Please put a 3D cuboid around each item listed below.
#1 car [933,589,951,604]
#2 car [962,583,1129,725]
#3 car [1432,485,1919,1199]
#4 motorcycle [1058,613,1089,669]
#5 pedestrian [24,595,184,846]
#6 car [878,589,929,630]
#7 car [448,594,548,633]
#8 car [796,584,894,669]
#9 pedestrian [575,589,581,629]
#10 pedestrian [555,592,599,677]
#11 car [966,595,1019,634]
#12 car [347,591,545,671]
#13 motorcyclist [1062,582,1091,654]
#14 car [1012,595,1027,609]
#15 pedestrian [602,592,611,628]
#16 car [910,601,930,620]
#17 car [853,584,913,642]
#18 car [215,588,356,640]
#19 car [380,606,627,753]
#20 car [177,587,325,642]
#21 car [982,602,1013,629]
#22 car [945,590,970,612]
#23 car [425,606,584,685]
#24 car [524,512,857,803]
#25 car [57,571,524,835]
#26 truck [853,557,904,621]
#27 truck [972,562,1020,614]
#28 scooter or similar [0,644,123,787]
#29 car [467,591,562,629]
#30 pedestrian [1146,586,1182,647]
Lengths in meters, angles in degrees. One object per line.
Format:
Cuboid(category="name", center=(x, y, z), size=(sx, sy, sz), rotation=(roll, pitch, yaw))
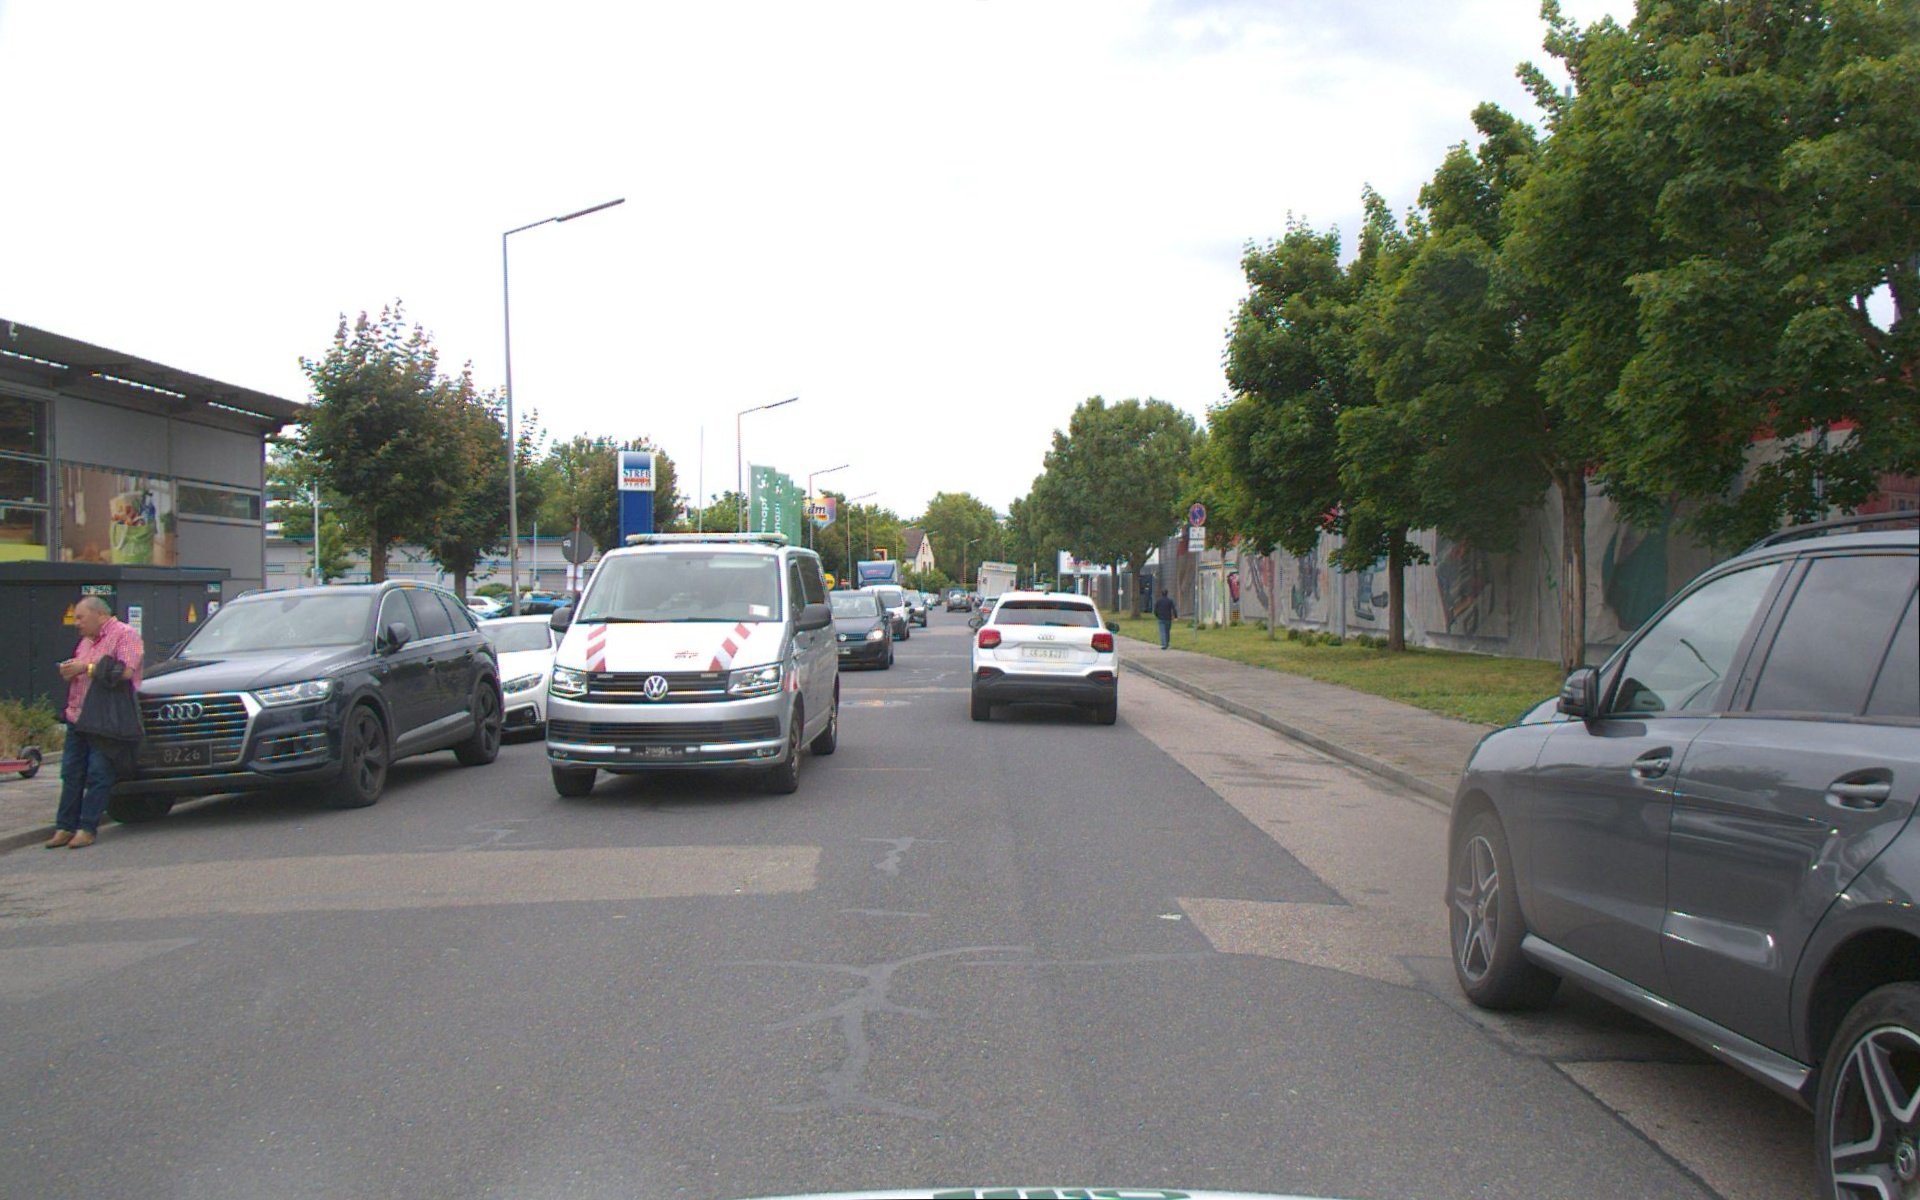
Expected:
Cuboid(category="car", center=(-2.146, -0.367, 194.713), size=(1.740, 1.684, 3.744), rotation=(1, 0, -6))
Cuboid(category="car", center=(0.999, 0.609, 20.968), size=(1.848, 1.558, 4.254), rotation=(2, 0, 1))
Cuboid(category="car", center=(2.943, 0.685, 4.743), size=(1.869, 1.771, 4.480), rotation=(3, 0, 1))
Cuboid(category="motorcycle", center=(2.527, 0.892, 36.968), size=(0.627, 1.199, 2.114), rotation=(0, 0, 2))
Cuboid(category="pedestrian", center=(-5.926, 0.812, 11.481), size=(0.659, 1.649, 0.653), rotation=(-4, 0, 0))
Cuboid(category="car", center=(-2.468, 0.391, 73.189), size=(1.893, 1.713, 4.496), rotation=(-1, 0, 2))
Cuboid(category="car", center=(-20.639, 0.586, 74.011), size=(3.905, 1.698, 1.876), rotation=(0, 0, 0))
Cuboid(category="car", center=(-2.293, 0.511, 33.835), size=(1.693, 1.599, 3.946), rotation=(-1, 0, 0))
Cuboid(category="pedestrian", center=(-17.274, 0.404, 74.793), size=(0.258, 1.760, 0.421), rotation=(0, 0, -12))
Cuboid(category="pedestrian", center=(-7.906, 0.707, 34.187), size=(0.760, 1.745, 0.696), rotation=(1, 0, -5))
Cuboid(category="car", center=(1.208, 0.534, 63.244), size=(1.898, 1.391, 3.999), rotation=(-1, 0, -1))
Cuboid(category="car", center=(-11.441, 0.673, 37.009), size=(3.794, 1.649, 1.928), rotation=(1, 0, 0))
Cuboid(category="motorcyclist", center=(2.605, 0.399, 37.026), size=(0.612, 1.581, 0.604), rotation=(0, 0, 2))
Cuboid(category="car", center=(7.833, 0.233, 218.231), size=(1.848, 1.713, 4.254), rotation=(2, 0, 1))
Cuboid(category="pedestrian", center=(-15.798, 0.439, 73.903), size=(0.353, 1.597, 0.502), rotation=(0, 0, -14))
Cuboid(category="car", center=(-3.480, 0.885, 143.628), size=(1.566, 1.555, 3.528), rotation=(-2, 0, 0))
Cuboid(category="car", center=(-2.505, 0.402, 54.716), size=(1.655, 1.791, 4.135), rotation=(-2, 0, 1))
Cuboid(category="car", center=(-22.502, 0.457, 55.288), size=(3.905, 1.698, 1.876), rotation=(0, 0, 0))
Cuboid(category="car", center=(-5.342, 0.859, 19.952), size=(1.664, 1.391, 4.517), rotation=(-5, 0, -1))
Cuboid(category="car", center=(-22.557, 0.437, 52.734), size=(3.905, 1.698, 1.876), rotation=(0, 0, 0))
Cuboid(category="car", center=(2.550, 1.061, 113.975), size=(1.953, 1.837, 3.999), rotation=(1, 0, -1))
Cuboid(category="car", center=(-0.187, 0.076, 131.193), size=(1.832, 1.691, 3.999), rotation=(-1, 0, -2))
Cuboid(category="car", center=(-12.152, 1.191, 44.315), size=(3.855, 2.049, 1.758), rotation=(0, 0, -7))
Cuboid(category="car", center=(-2.067, 0.430, 14.187), size=(1.887, 2.049, 4.956), rotation=(0, -1, 2))
Cuboid(category="car", center=(-5.280, 0.709, 13.867), size=(1.827, 1.721, 4.729), rotation=(-4, 0, 1))
Cuboid(category="truck", center=(-5.323, -0.733, 109.454), size=(2.912, 4.025, 6.405), rotation=(-1, 0, 0))
Cuboid(category="truck", center=(2.613, -0.799, 123.452), size=(3.071, 3.647, 10.047), rotation=(1, 0, -1))
Cuboid(category="scooter or similar", center=(-8.394, 1.015, 15.068), size=(0.648, 1.177, 1.642), rotation=(0, 0, 2))
Cuboid(category="car", center=(-20.609, 0.457, 76.626), size=(3.905, 1.698, 1.876), rotation=(0, 0, 0))
Cuboid(category="pedestrian", center=(5.677, 0.457, 46.017), size=(0.900, 1.663, 0.853), rotation=(1, -1, 2))
